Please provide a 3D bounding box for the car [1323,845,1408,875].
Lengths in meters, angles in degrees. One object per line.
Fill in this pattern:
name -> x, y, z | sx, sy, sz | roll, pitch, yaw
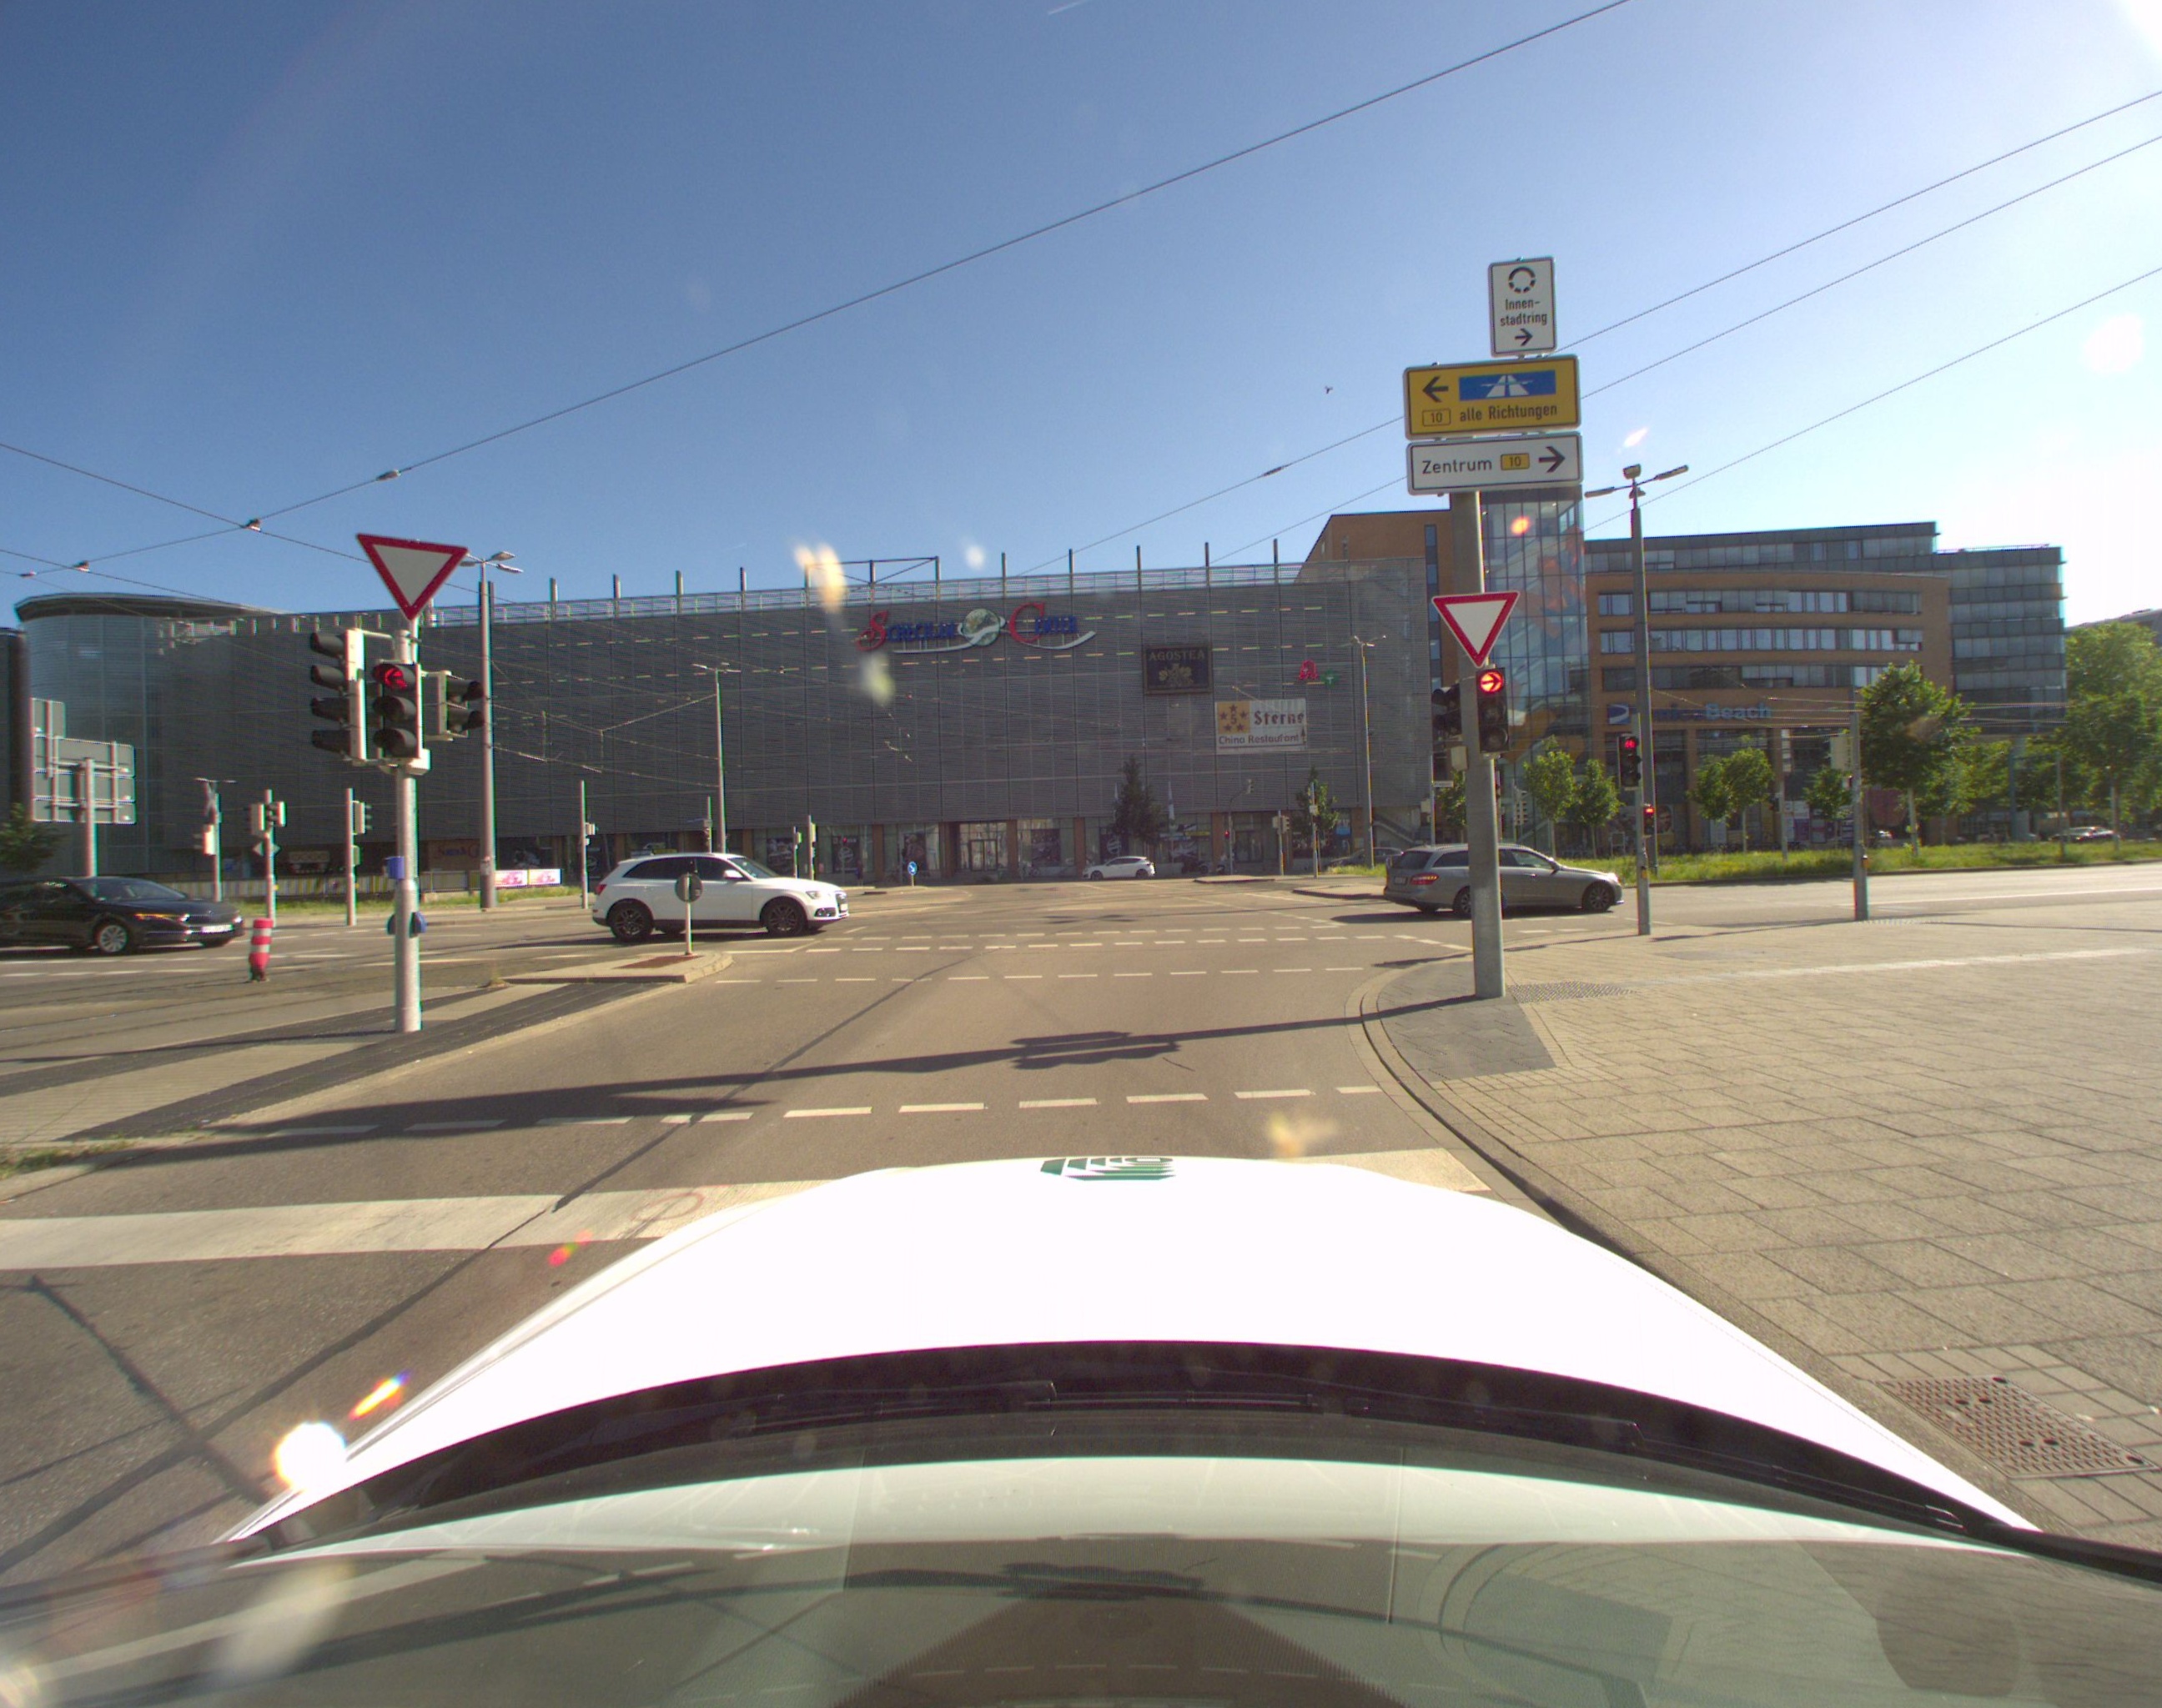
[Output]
car -> 15.882, 0.346, 45.621 | 4.132, 1.470, 1.841 | 2, -1, 0

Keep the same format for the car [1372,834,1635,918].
car -> 8.938, 0.432, 17.413 | 4.849, 1.572, 1.703 | -2, 0, -6

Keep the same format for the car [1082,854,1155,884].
car -> 2.225, 0.888, 49.105 | 4.274, 1.645, 1.841 | 2, -1, 1

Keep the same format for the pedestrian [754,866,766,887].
pedestrian -> -24.861, 1.746, 63.041 | 0.654, 1.601, 0.597 | -1, -1, 20

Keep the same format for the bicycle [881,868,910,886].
bicycle -> -12.586, 1.579, 55.310 | 0.562, 1.086, 1.874 | -1, 2, 45

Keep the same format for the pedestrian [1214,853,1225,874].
pedestrian -> 9.404, 0.627, 55.203 | 0.650, 1.414, 0.853 | -1, -1, 12

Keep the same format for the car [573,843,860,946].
car -> -6.938, 0.735, 15.940 | 4.657, 1.707, 1.935 | -2, 0, -3

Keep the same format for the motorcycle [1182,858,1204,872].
motorcycle -> 8.312, 0.827, 60.596 | 1.630, 1.004, 0.448 | 0, 0, 8

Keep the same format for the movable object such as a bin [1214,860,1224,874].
movable object such as a bin -> 9.271, 0.878, 54.740 | 0.608, 0.904, 0.972 | -1, -1, 12

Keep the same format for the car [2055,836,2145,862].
car -> 69.004, -0.343, 55.181 | 4.284, 1.584, 1.836 | 2, -1, -7

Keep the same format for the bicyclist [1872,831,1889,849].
bicyclist -> 63.270, -1.081, 64.478 | 0.750, 1.386, 0.566 | -2, 1, 1

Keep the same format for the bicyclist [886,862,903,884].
bicyclist -> -12.629, 1.269, 55.237 | 0.667, 1.427, 0.855 | -1, 2, 45

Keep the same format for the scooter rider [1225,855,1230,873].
scooter rider -> 9.907, 0.702, 54.949 | 0.286, 1.200, 0.387 | -1, -1, 12

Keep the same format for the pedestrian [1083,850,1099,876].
pedestrian -> 0.740, 0.663, 59.847 | 0.945, 1.829, 0.847 | -3, -4, 7

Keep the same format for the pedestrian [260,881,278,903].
pedestrian -> -59.447, 2.776, 59.648 | 0.656, 1.601, 0.652 | -1, -1, 8

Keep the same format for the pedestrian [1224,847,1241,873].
pedestrian -> 10.990, 0.409, 59.175 | 1.007, 1.828, 1.037 | -3, 0, 5

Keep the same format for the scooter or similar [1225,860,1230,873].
scooter or similar -> 9.919, 0.866, 55.008 | 0.293, 0.873, 1.007 | -1, -1, 12

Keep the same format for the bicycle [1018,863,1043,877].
bicycle -> -3.782, 1.169, 60.791 | 1.815, 0.989, 0.556 | -2, 1, -8

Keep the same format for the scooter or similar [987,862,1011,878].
scooter or similar -> -6.185, 1.198, 61.232 | 1.790, 1.066, 0.611 | -2, 1, -6

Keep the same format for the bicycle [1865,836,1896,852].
bicycle -> 63.316, -0.791, 64.484 | 1.850, 1.217, 0.569 | -2, 1, 1

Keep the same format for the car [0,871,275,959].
car -> -18.711, 1.137, 15.591 | 4.653, 1.462, 1.833 | -1, 0, 0

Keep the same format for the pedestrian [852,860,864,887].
pedestrian -> -15.203, 1.305, 55.462 | 0.695, 1.797, 0.727 | -3, 0, -14
